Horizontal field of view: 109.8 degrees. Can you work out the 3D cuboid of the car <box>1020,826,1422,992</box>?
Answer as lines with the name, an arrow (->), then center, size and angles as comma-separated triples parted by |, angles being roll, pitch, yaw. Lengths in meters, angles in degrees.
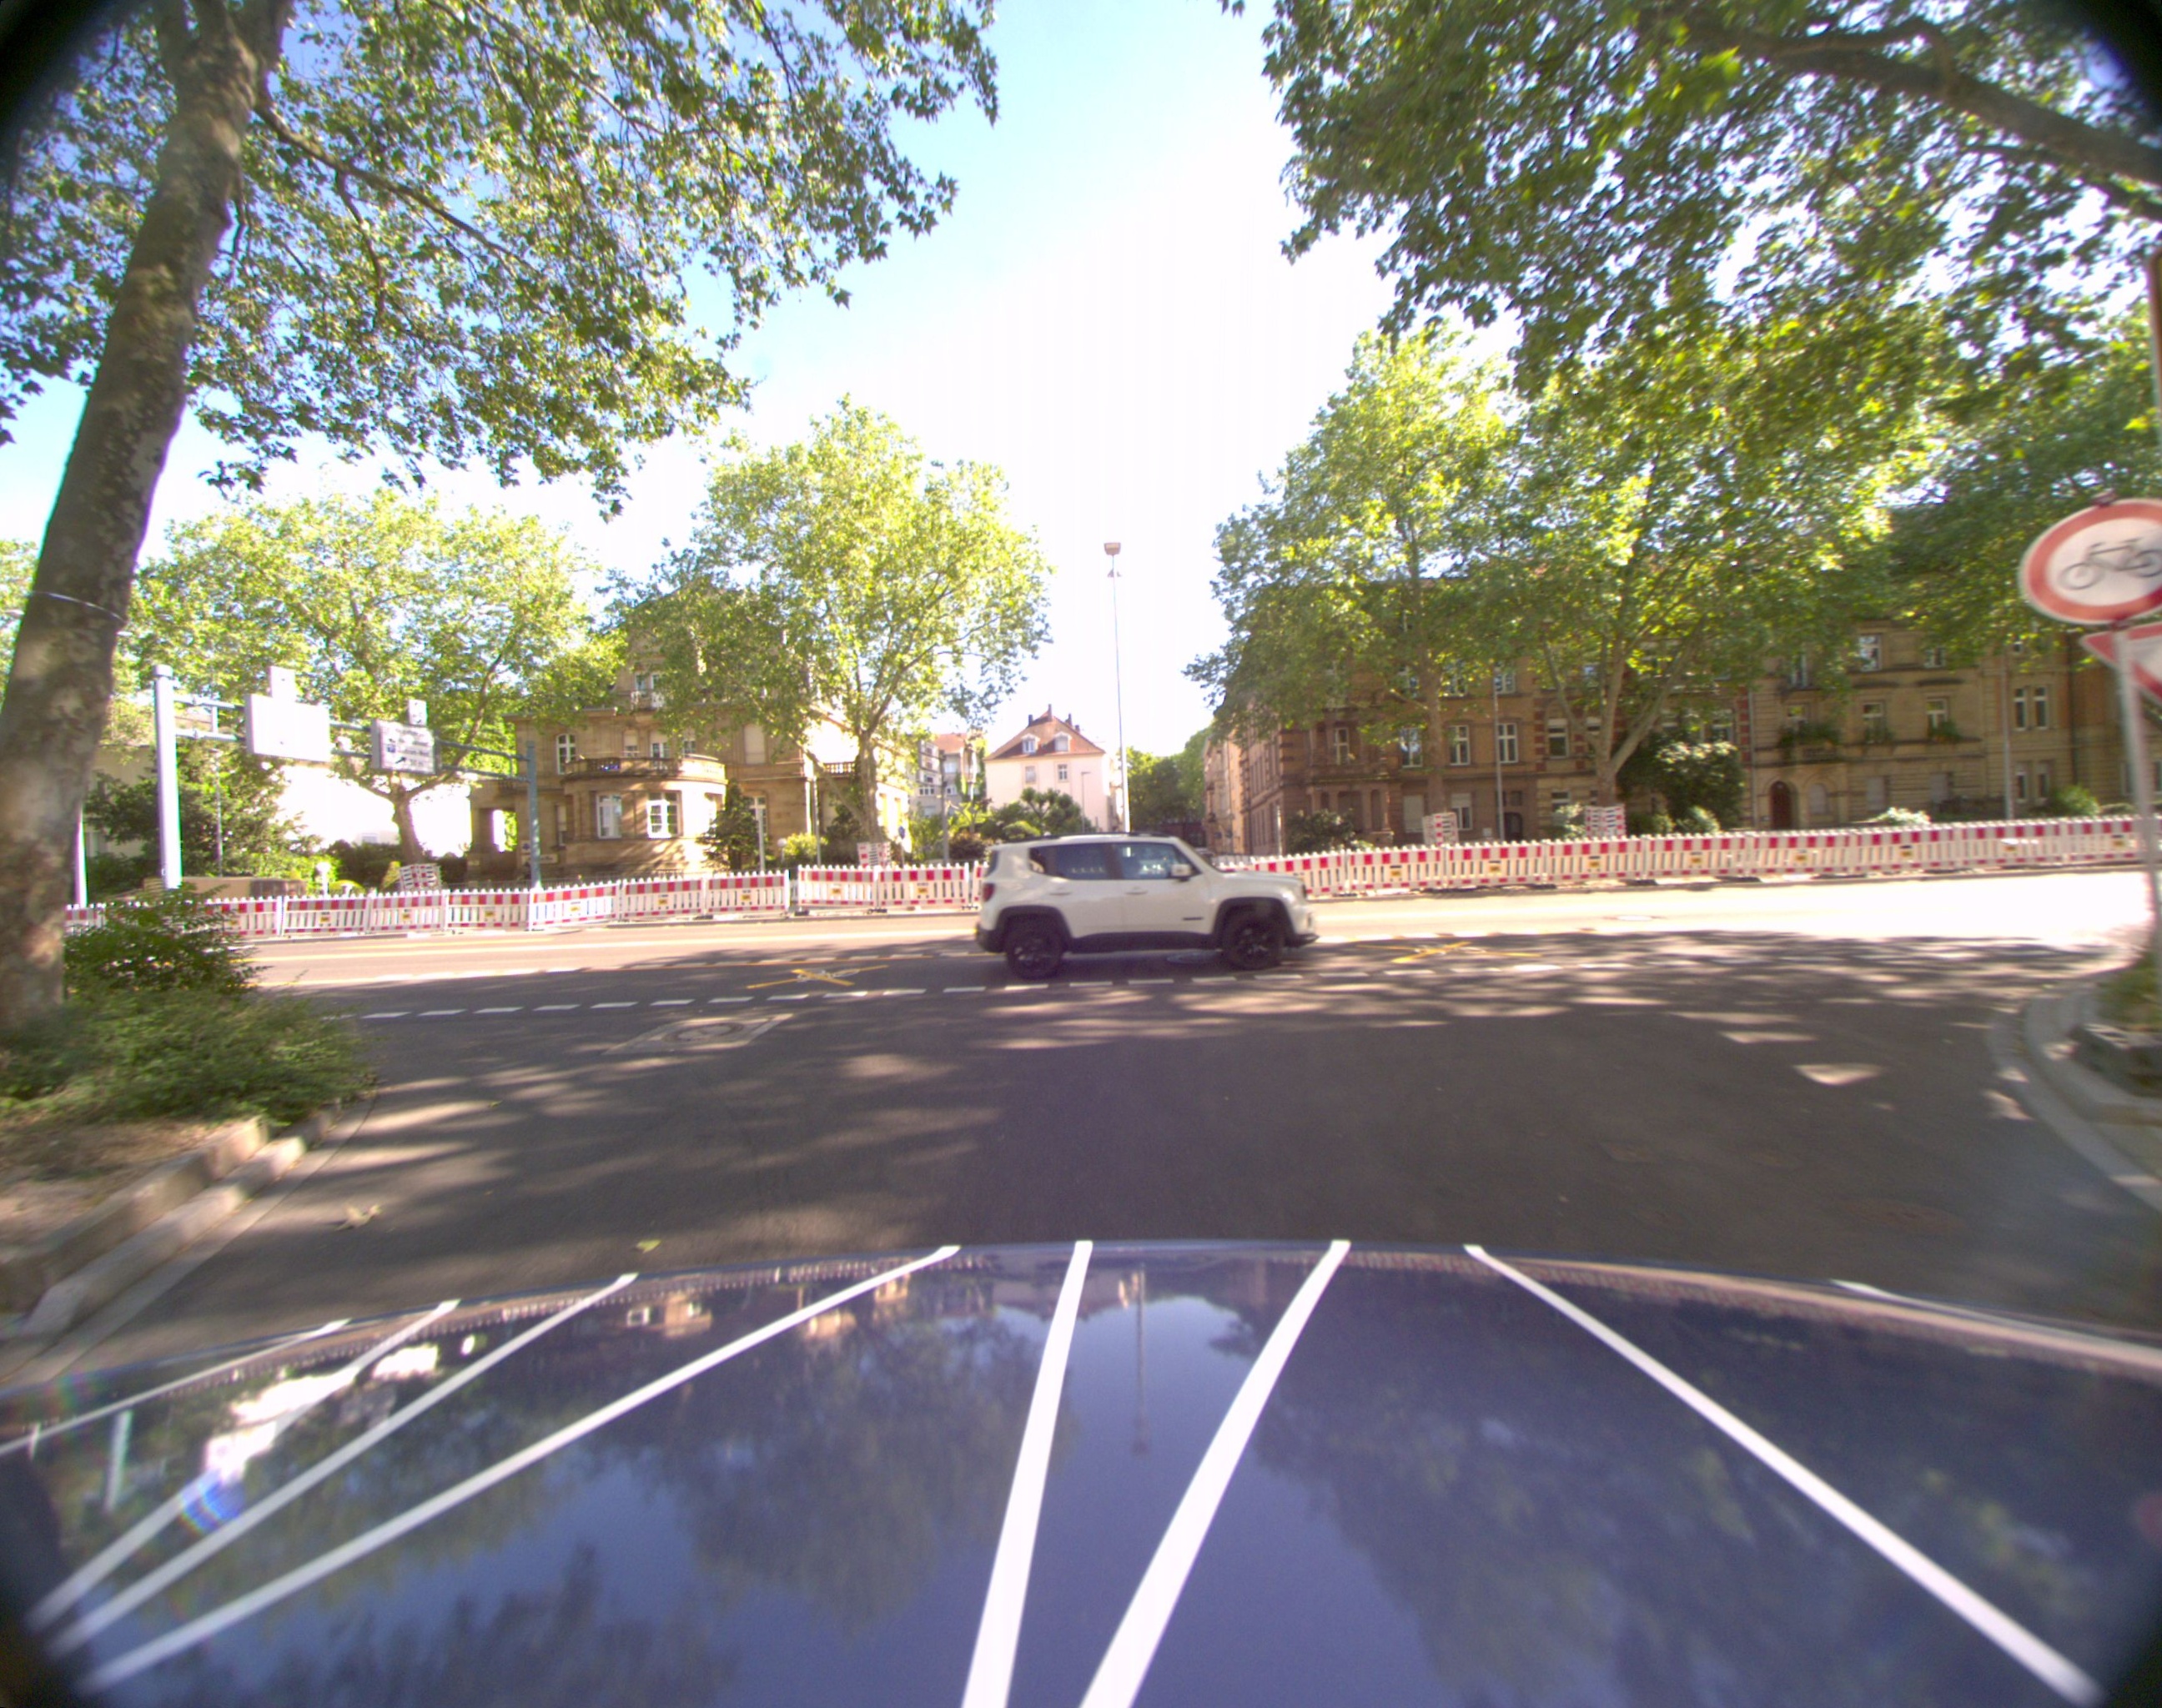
car -> 1.632, 0.624, 9.632 | 4.502, 1.716, 1.869 | -3, 1, 3

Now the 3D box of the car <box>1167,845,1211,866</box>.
car -> 9.773, 0.169, 68.880 | 3.799, 1.726, 1.623 | -2, 0, 6

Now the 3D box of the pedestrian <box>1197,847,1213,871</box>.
pedestrian -> 8.665, 0.352, 53.086 | 0.761, 1.651, 0.826 | -3, 0, -21

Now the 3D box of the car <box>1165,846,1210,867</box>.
car -> 8.953, 0.208, 63.988 | 3.675, 1.640, 1.601 | -3, 0, 6

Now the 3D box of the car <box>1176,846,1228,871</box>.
car -> 9.262, 0.343, 58.513 | 3.799, 1.726, 1.623 | -2, 0, 6
